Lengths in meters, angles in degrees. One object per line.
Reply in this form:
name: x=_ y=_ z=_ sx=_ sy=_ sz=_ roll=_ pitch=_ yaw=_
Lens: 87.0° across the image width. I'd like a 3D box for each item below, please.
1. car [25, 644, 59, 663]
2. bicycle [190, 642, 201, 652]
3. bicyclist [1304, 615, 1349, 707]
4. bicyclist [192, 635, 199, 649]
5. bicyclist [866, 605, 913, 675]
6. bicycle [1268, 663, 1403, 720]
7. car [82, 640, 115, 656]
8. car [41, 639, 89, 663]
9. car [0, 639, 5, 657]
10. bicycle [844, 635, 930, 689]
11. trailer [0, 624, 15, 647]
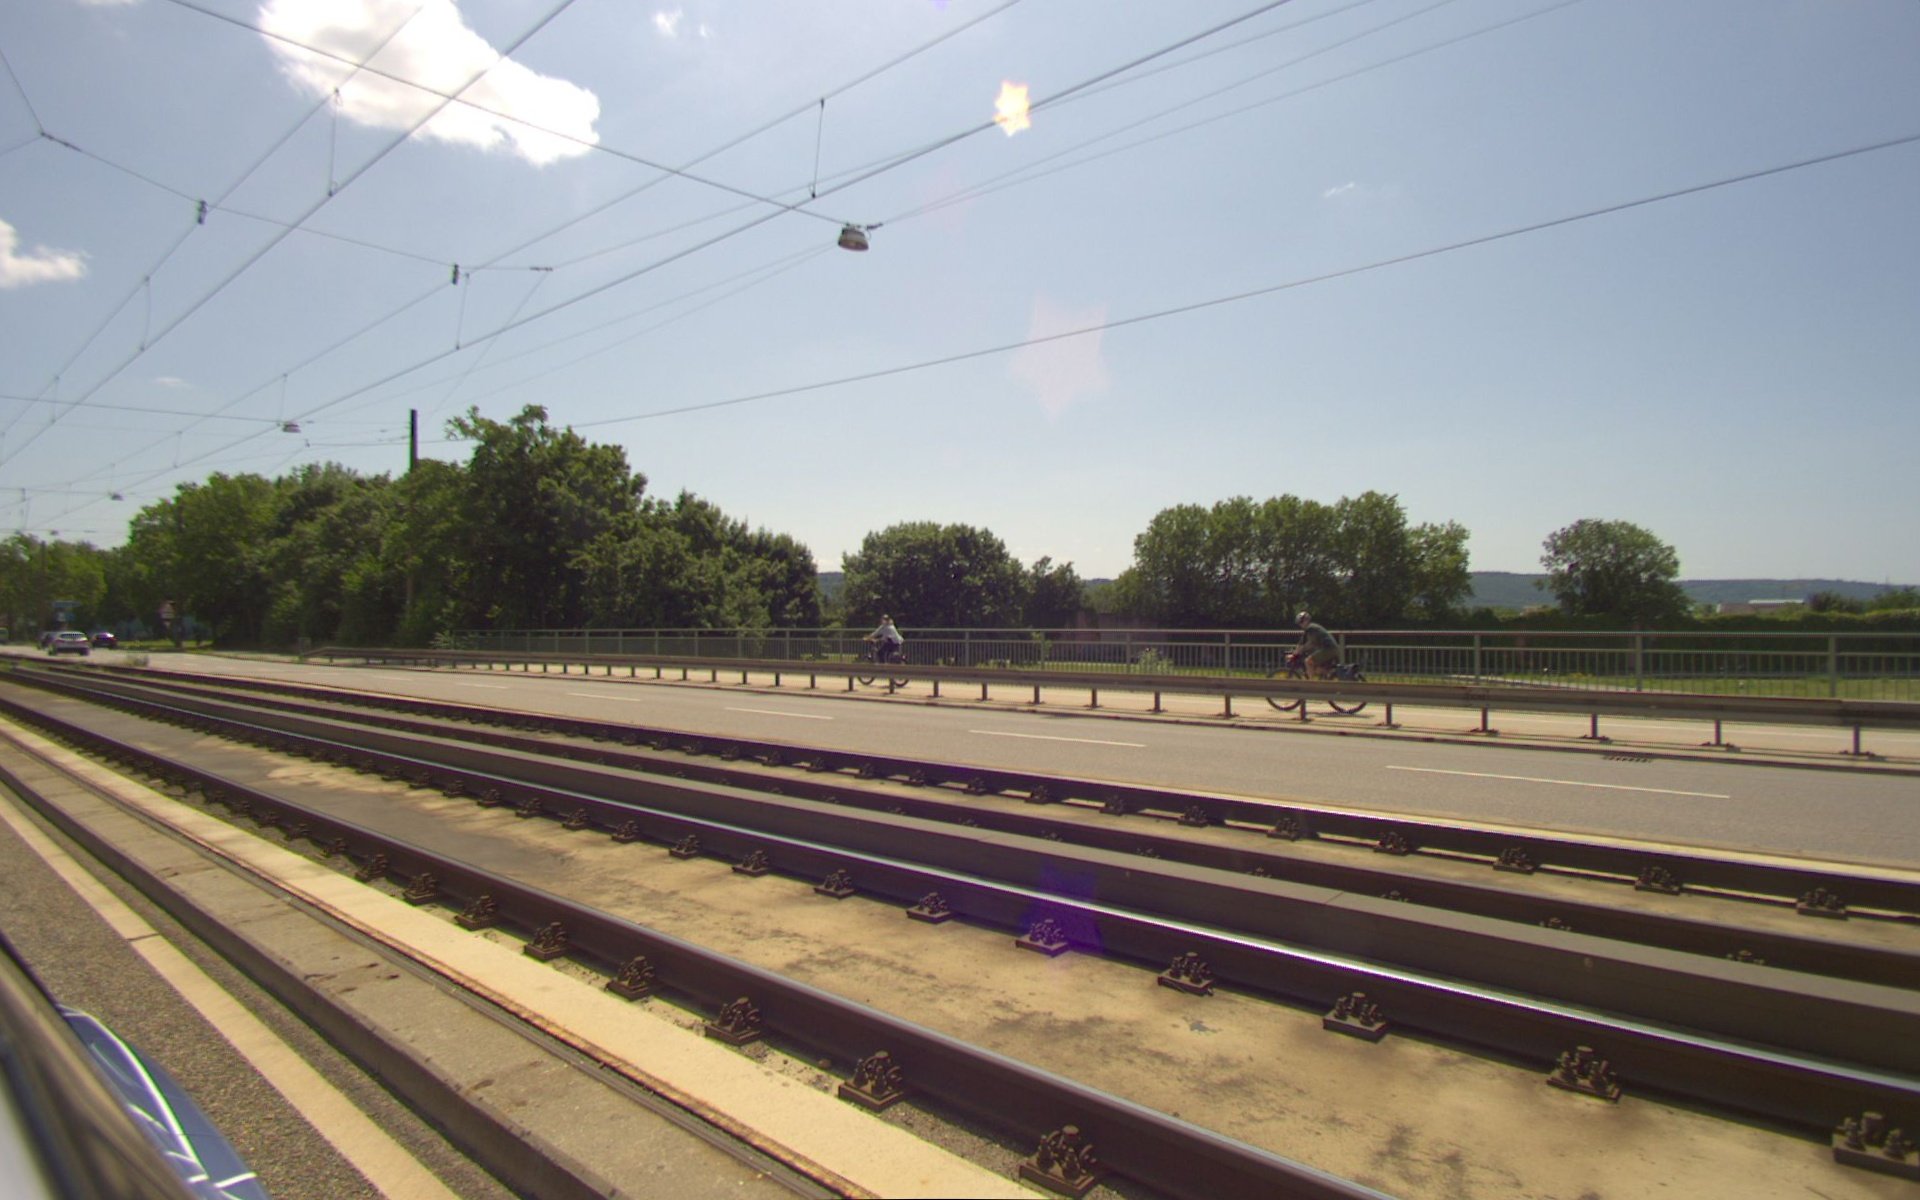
car: x=-74.824 y=4.346 z=82.471 sx=3.936 sy=1.411 sz=1.558 roll=-1 pitch=-2 yaw=41
bicycle: x=-76.498 y=4.695 z=101.255 sx=0.579 sy=0.825 sz=2.070 roll=-1 pitch=1 yaw=-44
bicyclist: x=6.153 y=1.010 z=16.986 sx=0.529 sy=1.509 sz=0.515 roll=-2 pitch=-2 yaw=40
bicyclist: x=-76.506 y=4.192 z=101.275 sx=0.562 sy=1.378 sz=0.632 roll=-1 pitch=0 yaw=-43
bicyclist: x=-1.693 y=0.935 z=24.263 sx=0.837 sy=1.634 sz=0.755 roll=-1 pitch=-1 yaw=41
bicycle: x=6.242 y=1.500 z=16.913 sx=2.034 sy=0.849 sz=0.517 roll=-2 pitch=-1 yaw=40
car: x=-72.769 y=4.046 z=85.478 sx=3.927 sy=1.357 sz=1.546 roll=-1 pitch=-3 yaw=42
car: x=-56.087 y=3.169 z=63.399 sx=4.622 sy=1.431 sz=1.693 roll=-1 pitch=-3 yaw=42
car: x=-107.456 y=5.311 z=112.243 sx=5.177 sy=1.940 sz=1.792 roll=-1 pitch=-3 yaw=42
bicycle: x=-1.761 y=1.463 z=24.218 sx=2.061 sy=1.194 sz=0.848 roll=-1 pitch=-1 yaw=41
trailer: x=-162.760 y=5.981 z=168.733 sx=12.038 sy=3.683 sz=3.360 roll=-1 pitch=-2 yaw=25
